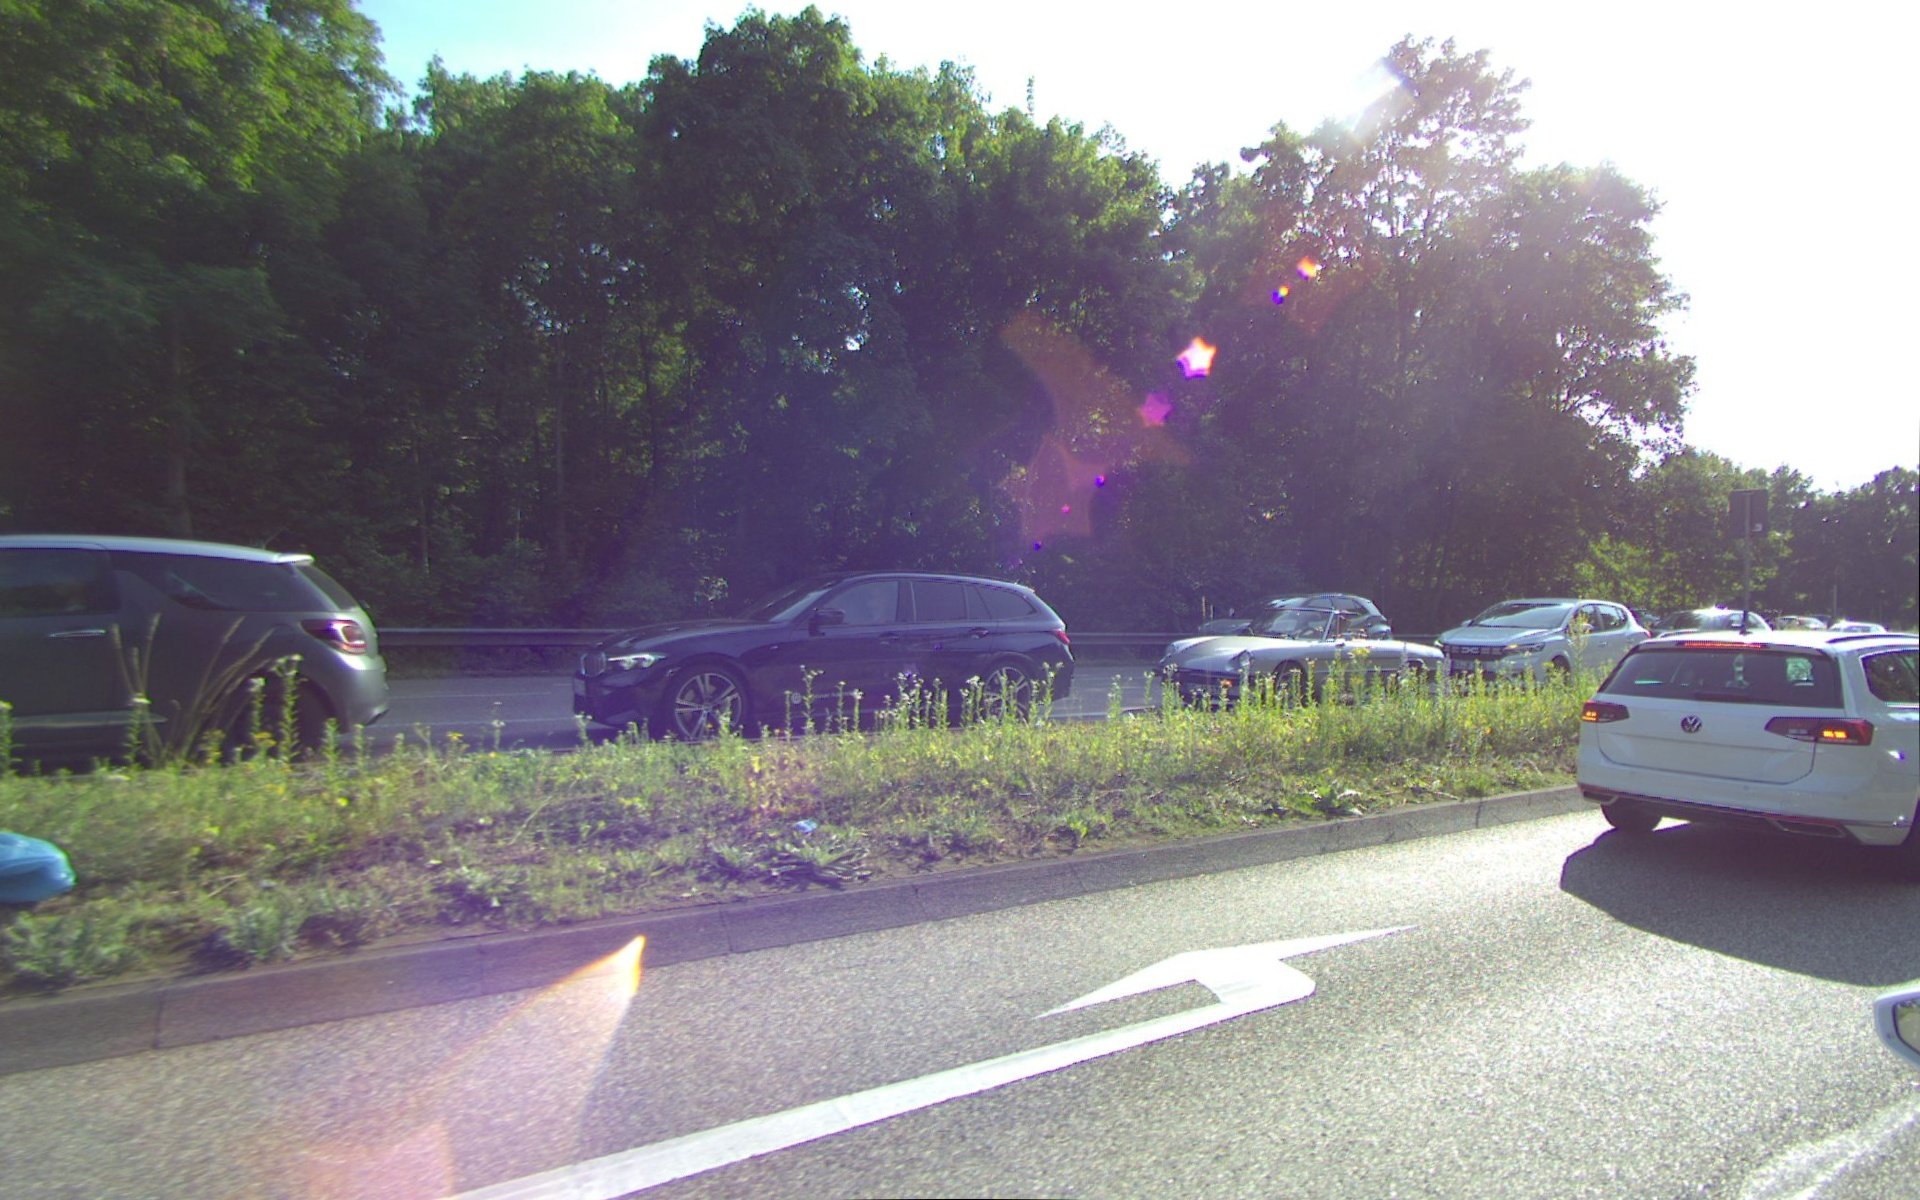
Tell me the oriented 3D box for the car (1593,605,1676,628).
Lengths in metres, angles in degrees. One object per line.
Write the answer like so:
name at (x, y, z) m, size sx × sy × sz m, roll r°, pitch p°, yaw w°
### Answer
car at (54.431, 1.334, 81.177) m, size 2.414 × 1.510 × 5.038 m, roll 1°, pitch 2°, yaw -25°

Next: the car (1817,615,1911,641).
car at (65.878, 2.011, 73.258) m, size 2.147 × 1.510 × 4.678 m, roll 1°, pitch 2°, yaw -35°

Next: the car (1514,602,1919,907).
car at (6.375, 0.863, 7.411) m, size 4.779 × 1.542 × 1.860 m, roll 1°, pitch 2°, yaw -32°

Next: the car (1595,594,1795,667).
car at (19.465, 0.778, 26.505) m, size 6.154 × 1.731 × 2.092 m, roll 1°, pitch 0°, yaw -32°

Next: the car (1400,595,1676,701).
car at (8.995, 0.689, 15.546) m, size 4.365 × 1.436 × 1.858 m, roll 1°, pitch 0°, yaw -31°

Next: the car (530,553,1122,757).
car at (-1.055, 0.427, 9.218) m, size 5.134 × 1.442 × 1.758 m, roll 1°, pitch 0°, yaw -32°

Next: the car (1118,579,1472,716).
car at (4.221, 0.531, 12.450) m, size 4.384 × 1.436 × 1.758 m, roll 1°, pitch 0°, yaw -31°

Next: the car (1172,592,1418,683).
car at (6.098, 0.638, 18.149) m, size 4.365 × 1.480 × 1.858 m, roll 1°, pitch 0°, yaw -31°

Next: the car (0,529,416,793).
car at (-5.751, 0.334, 6.170) m, size 4.163 × 1.442 × 1.698 m, roll 1°, pitch 0°, yaw -31°

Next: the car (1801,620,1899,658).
car at (35.414, 1.520, 39.941) m, size 4.325 × 1.396 × 1.729 m, roll 1°, pitch 0°, yaw -31°
